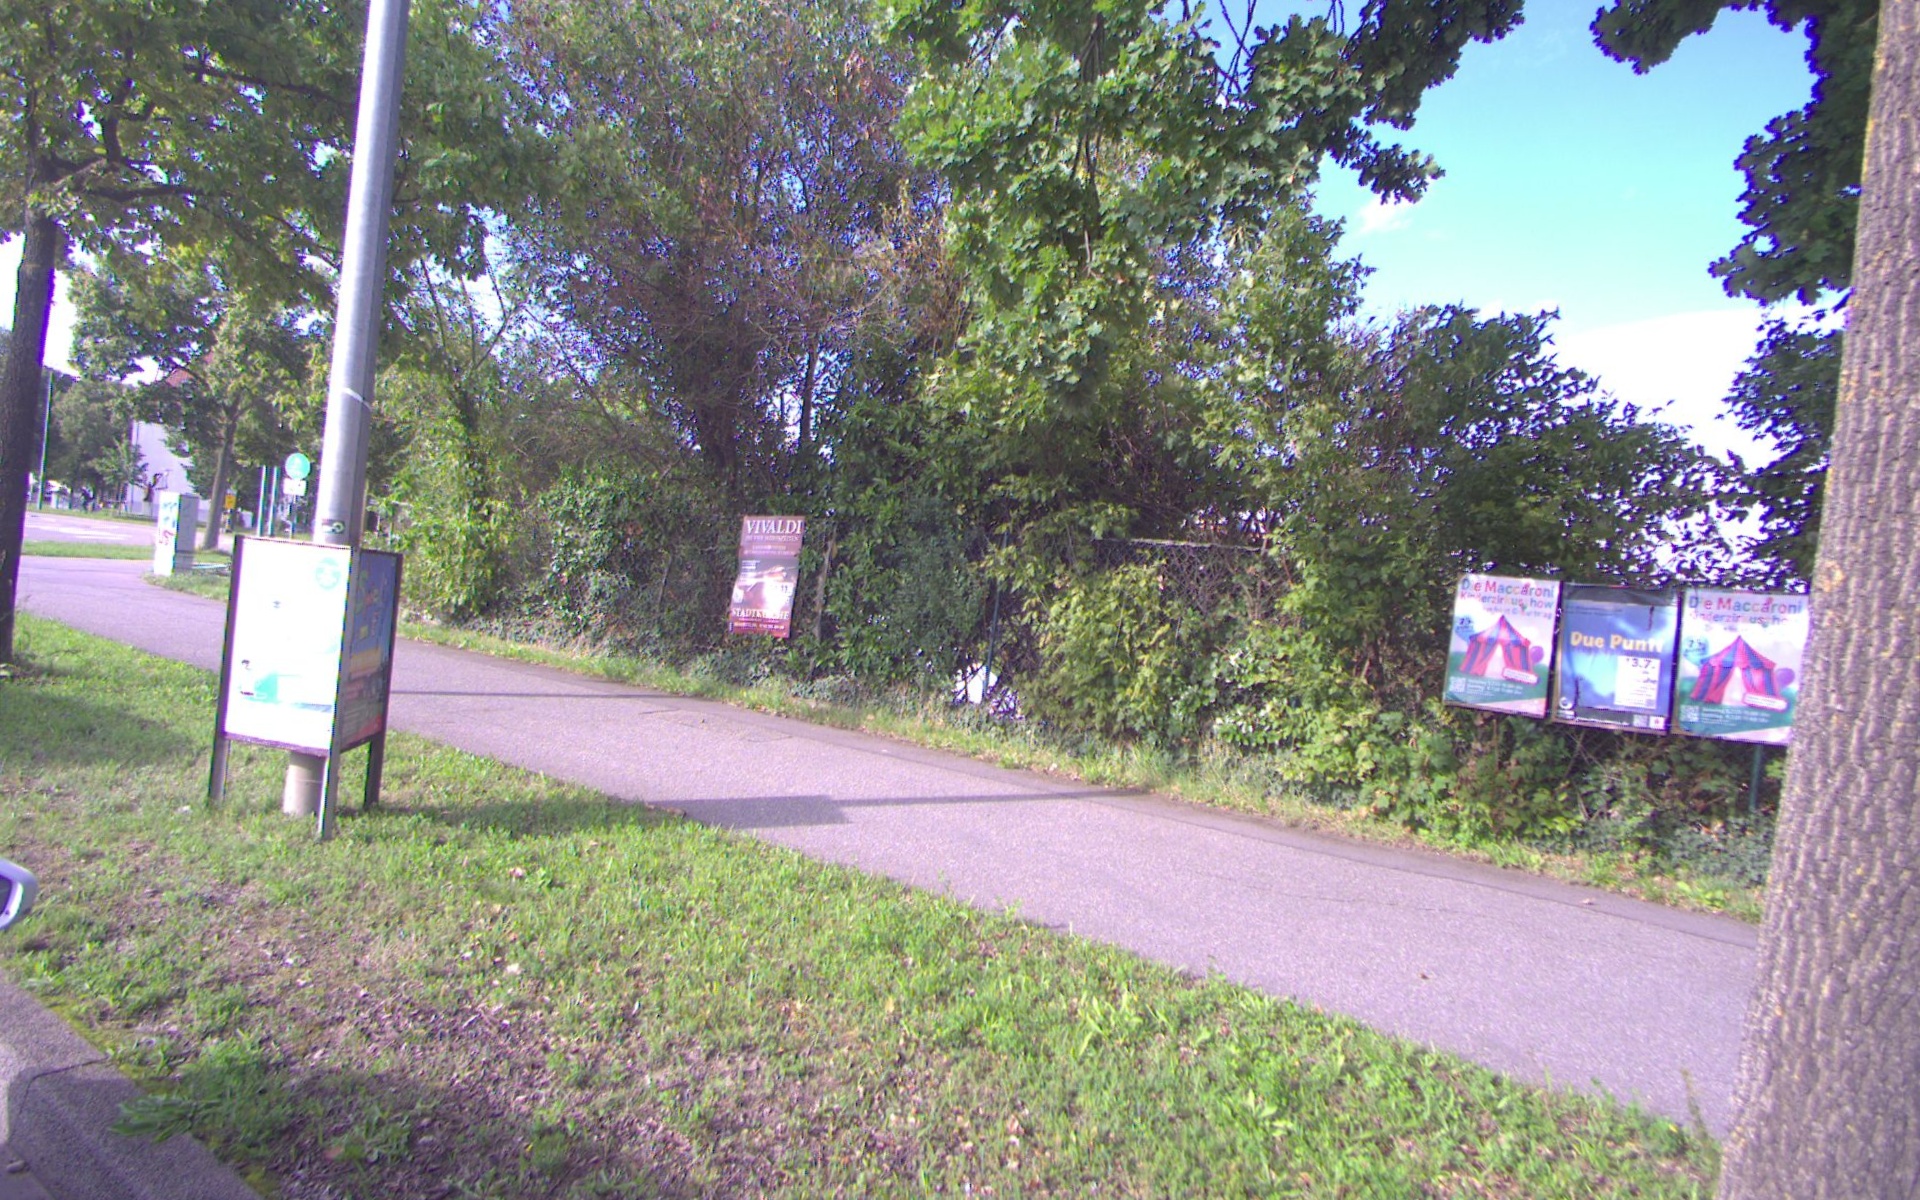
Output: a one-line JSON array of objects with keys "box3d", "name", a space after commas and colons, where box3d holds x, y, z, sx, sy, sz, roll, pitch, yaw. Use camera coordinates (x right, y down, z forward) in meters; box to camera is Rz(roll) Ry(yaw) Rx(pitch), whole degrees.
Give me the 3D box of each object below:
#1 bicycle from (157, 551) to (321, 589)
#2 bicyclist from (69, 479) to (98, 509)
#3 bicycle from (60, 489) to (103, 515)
[{"box3d": [-13.960, -0.583, 19.512, 2.529, 0.390, 1.411, 7, 0, 21], "name": "bicycle"}, {"box3d": [-65.067, -7.869, 74.658, 1.201, 2.037, 0.822, 6, -1, 1], "name": "bicyclist"}, {"box3d": [-65.172, -7.278, 74.659, 2.247, 1.548, 0.896, 7, -1, 2], "name": "bicycle"}]
